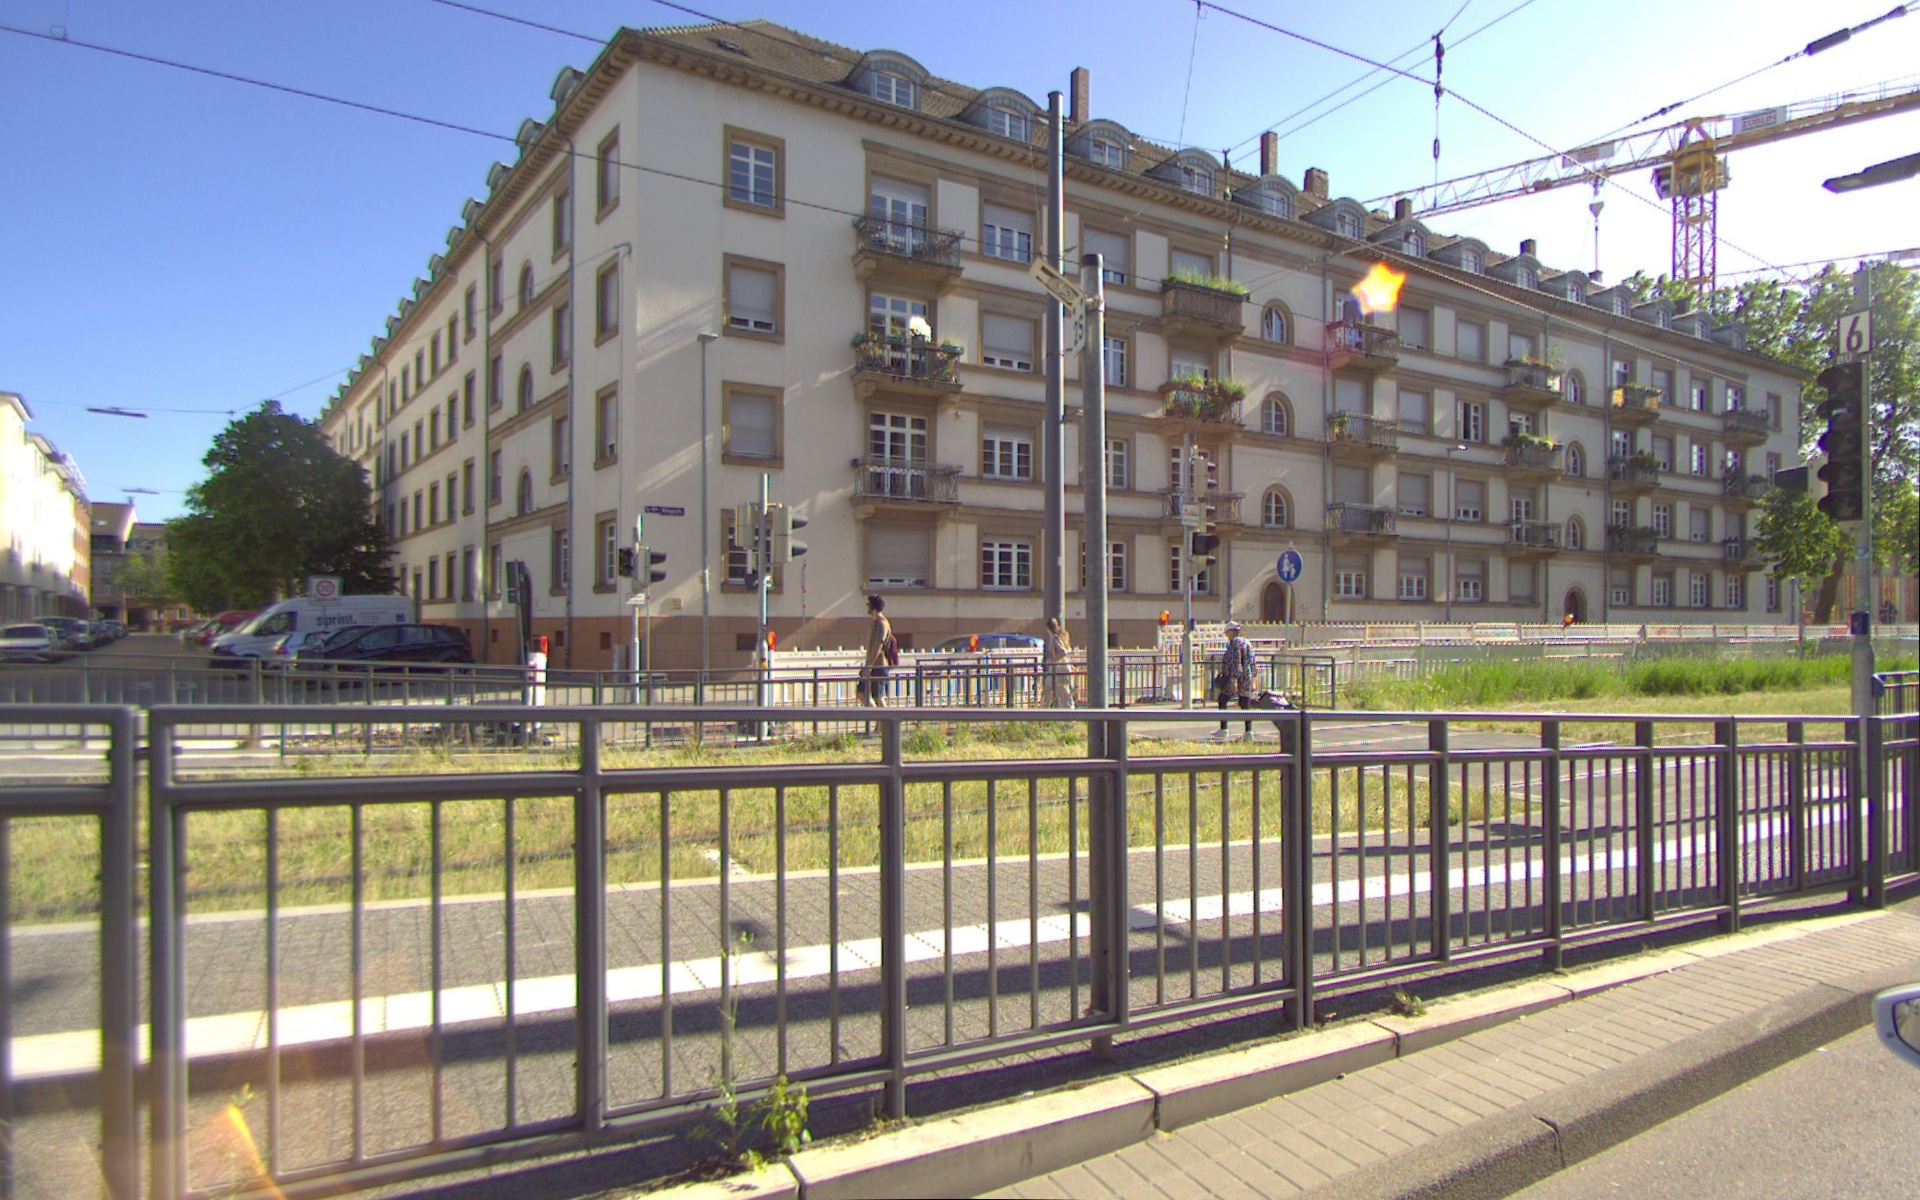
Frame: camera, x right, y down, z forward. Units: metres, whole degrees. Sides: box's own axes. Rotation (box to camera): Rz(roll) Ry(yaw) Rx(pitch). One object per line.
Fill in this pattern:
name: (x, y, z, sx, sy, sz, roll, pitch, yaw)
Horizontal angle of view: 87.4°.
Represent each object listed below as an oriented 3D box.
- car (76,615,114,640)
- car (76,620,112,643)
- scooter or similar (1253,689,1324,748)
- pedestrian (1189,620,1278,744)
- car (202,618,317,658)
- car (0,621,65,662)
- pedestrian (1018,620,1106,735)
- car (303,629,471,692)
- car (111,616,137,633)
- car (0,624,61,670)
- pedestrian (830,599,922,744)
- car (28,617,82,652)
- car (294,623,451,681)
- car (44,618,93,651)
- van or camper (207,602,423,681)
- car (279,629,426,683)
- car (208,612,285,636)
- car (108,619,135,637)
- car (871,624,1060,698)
car: (-60.228, 1.903, 69.977, 1.940, 1.684, 3.954, 1, -2, -40)
car: (-63.431, 2.284, 73.632, 1.940, 1.684, 3.954, 1, -2, -40)
scooter or similar: (4.182, 1.502, 12.819, 0.509, 0.660, 0.704, 1, 0, -28)
pedestrian: (3.605, 1.052, 13.267, 0.788, 1.557, 0.809, 1, 0, -28)
car: (-36.467, 1.947, 52.349, 4.832, 2.034, 1.920, 1, -2, -39)
car: (-39.397, 1.731, 42.723, 1.942, 1.684, 3.950, 1, -2, -43)
pedestrian: (1.459, 1.068, 14.376, 0.903, 1.557, 0.856, 1, 0, -44)
car: (-15.041, 1.529, 26.447, 3.643, 1.542, 1.672, 1, -2, -40)
car: (-85.698, 2.515, 102.985, 1.940, 1.684, 3.954, 1, -2, -40)
car: (-36.418, 1.793, 39.201, 1.942, 1.684, 3.950, 1, -2, -43)
pedestrian: (-1.086, 0.893, 13.122, 0.851, 1.804, 0.909, 1, 0, 23)
car: (-45.212, 1.703, 50.175, 1.942, 1.684, 3.950, 1, -2, -43)
car: (-16.677, 1.430, 28.588, 3.643, 1.542, 1.672, 1, -2, -40)
car: (-48.606, 1.856, 54.750, 1.942, 1.684, 3.950, 1, -2, -43)
van or camper: (-21.616, 1.362, 33.874, 5.911, 2.432, 1.976, 1, -2, -42)
car: (-18.386, 1.649, 30.456, 3.635, 1.542, 1.672, 1, -2, -40)
car: (-52.726, 1.757, 74.220, 4.533, 1.754, 2.023, 1, -2, -39)
car: (-79.361, 2.644, 95.076, 1.940, 1.684, 3.954, 1, -2, -40)
car: (0.136, 1.236, 20.688, 3.610, 1.394, 1.567, 1, -4, -31)
